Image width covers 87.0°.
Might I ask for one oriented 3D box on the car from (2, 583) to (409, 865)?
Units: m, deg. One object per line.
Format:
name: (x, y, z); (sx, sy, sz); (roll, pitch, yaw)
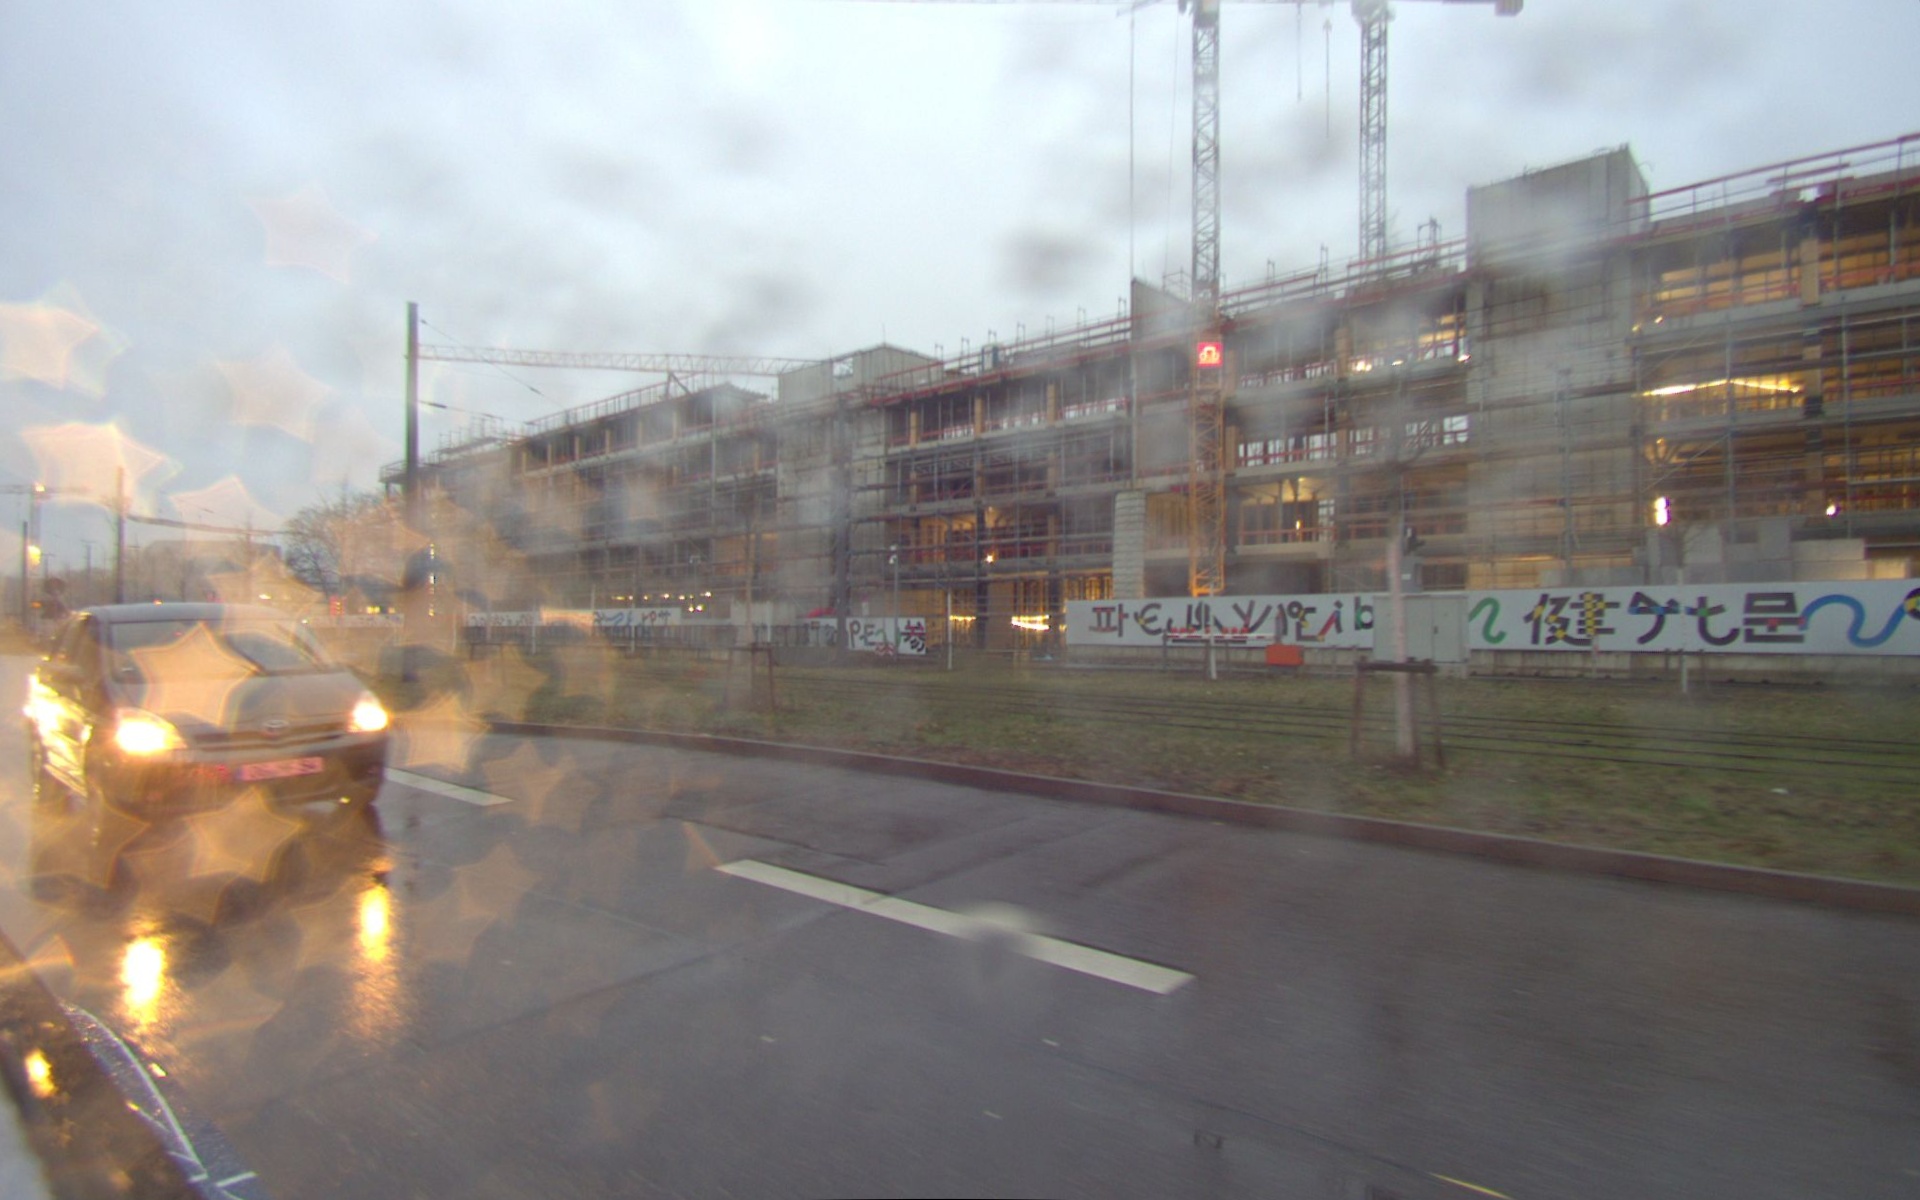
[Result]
car: (-6.119, 0.785, 8.024); (4.133, 1.659, 1.792); (-2, -2, 42)
